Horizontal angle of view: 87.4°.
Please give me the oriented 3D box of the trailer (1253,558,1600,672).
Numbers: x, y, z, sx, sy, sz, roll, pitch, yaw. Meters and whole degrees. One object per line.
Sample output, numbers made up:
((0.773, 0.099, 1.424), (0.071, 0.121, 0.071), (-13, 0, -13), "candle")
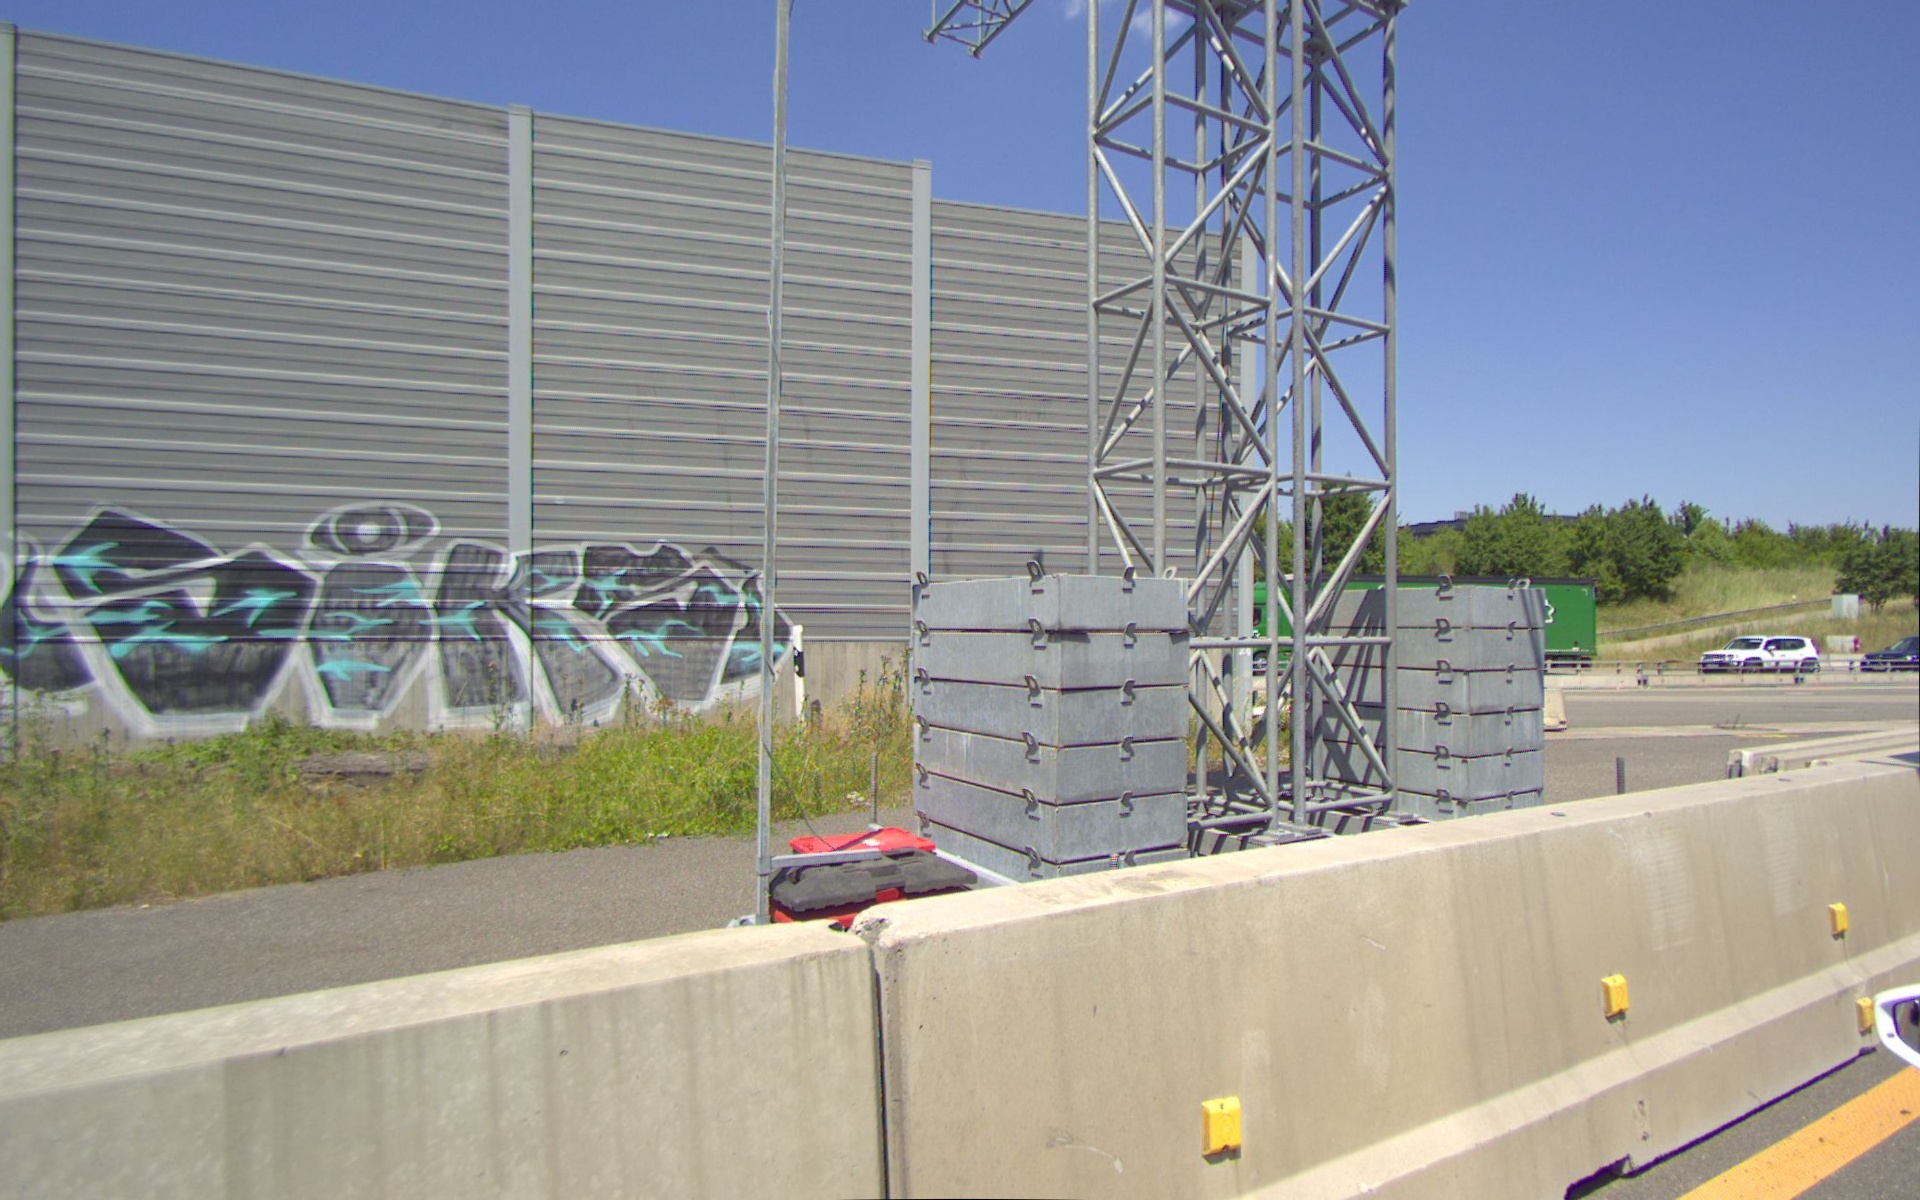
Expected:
((19.732, 0.674, 42.762), (13.654, 4.327, 3.552), (1, 0, -9), "trailer")

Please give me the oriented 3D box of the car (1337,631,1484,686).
((14.496, 1.865, 32.401), (4.097, 1.645, 1.717), (1, 0, -12), "car")

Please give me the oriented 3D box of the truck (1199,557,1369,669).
((13.366, 0.524, 41.783), (5.673, 4.327, 3.552), (1, 0, -9), "truck")

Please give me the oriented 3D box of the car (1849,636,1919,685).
((34.499, 2.163, 36.101), (4.097, 1.645, 1.718), (1, -1, -12), "car")

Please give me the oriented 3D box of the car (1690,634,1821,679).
((30.566, 2.162, 38.628), (4.097, 1.645, 1.718), (1, -1, -12), "car")
